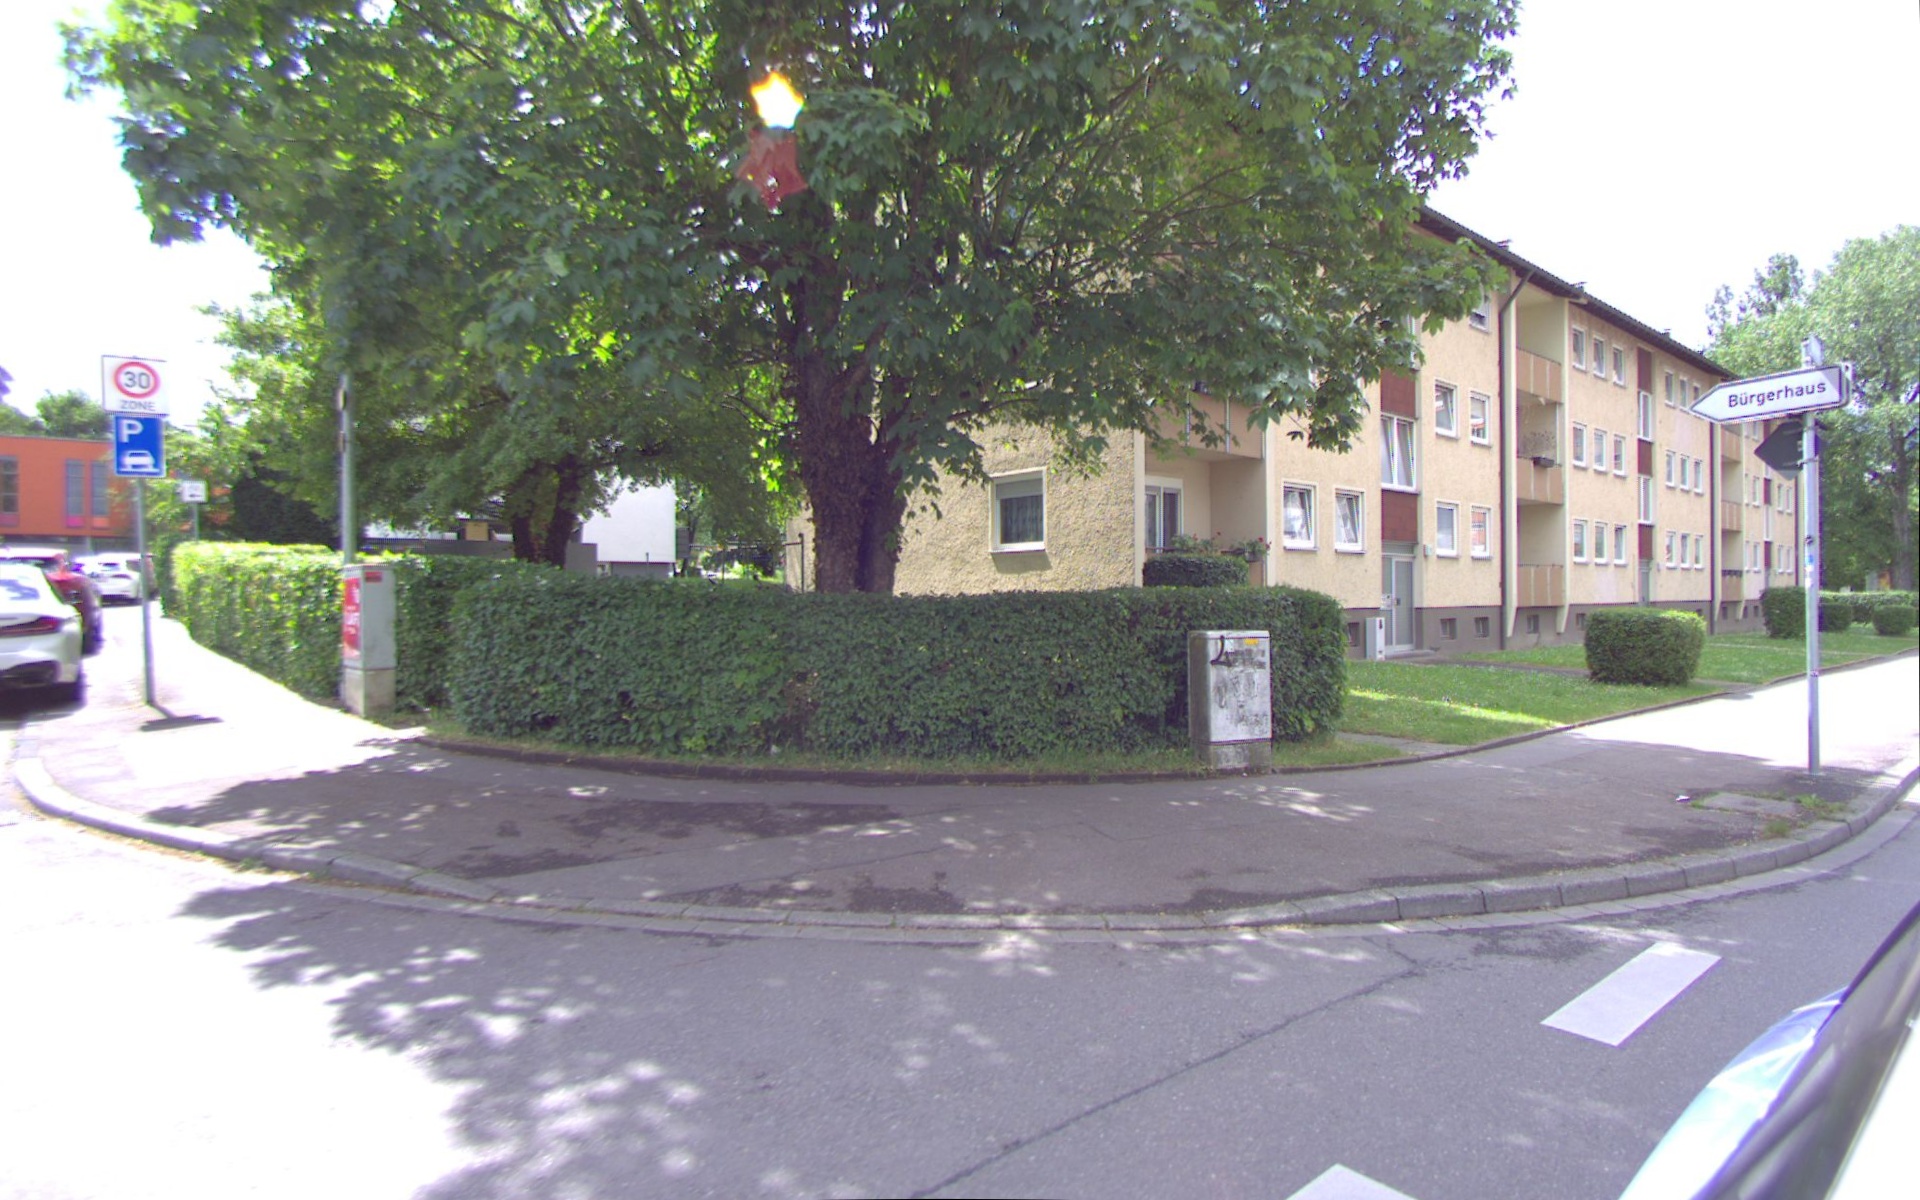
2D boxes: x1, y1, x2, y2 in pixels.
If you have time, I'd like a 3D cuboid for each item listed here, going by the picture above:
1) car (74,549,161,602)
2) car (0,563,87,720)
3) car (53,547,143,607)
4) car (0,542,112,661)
[{"bbox_3d":[-29.728,-0.867,35.859,1.816,1.708,5.469,1,1,-34],"label":"car"},{"bbox_3d":[-11.075,0.343,11.403,1.820,1.523,4.530,1,1,-42],"label":"car"},{"bbox_3d":[-26.297,-0.713,30.991,1.818,1.708,4.535,1,1,-37],"label":"car"},{"bbox_3d":[-15.153,-0.055,16.556,1.793,1.733,4.244,0,2,-38],"label":"car"}]
